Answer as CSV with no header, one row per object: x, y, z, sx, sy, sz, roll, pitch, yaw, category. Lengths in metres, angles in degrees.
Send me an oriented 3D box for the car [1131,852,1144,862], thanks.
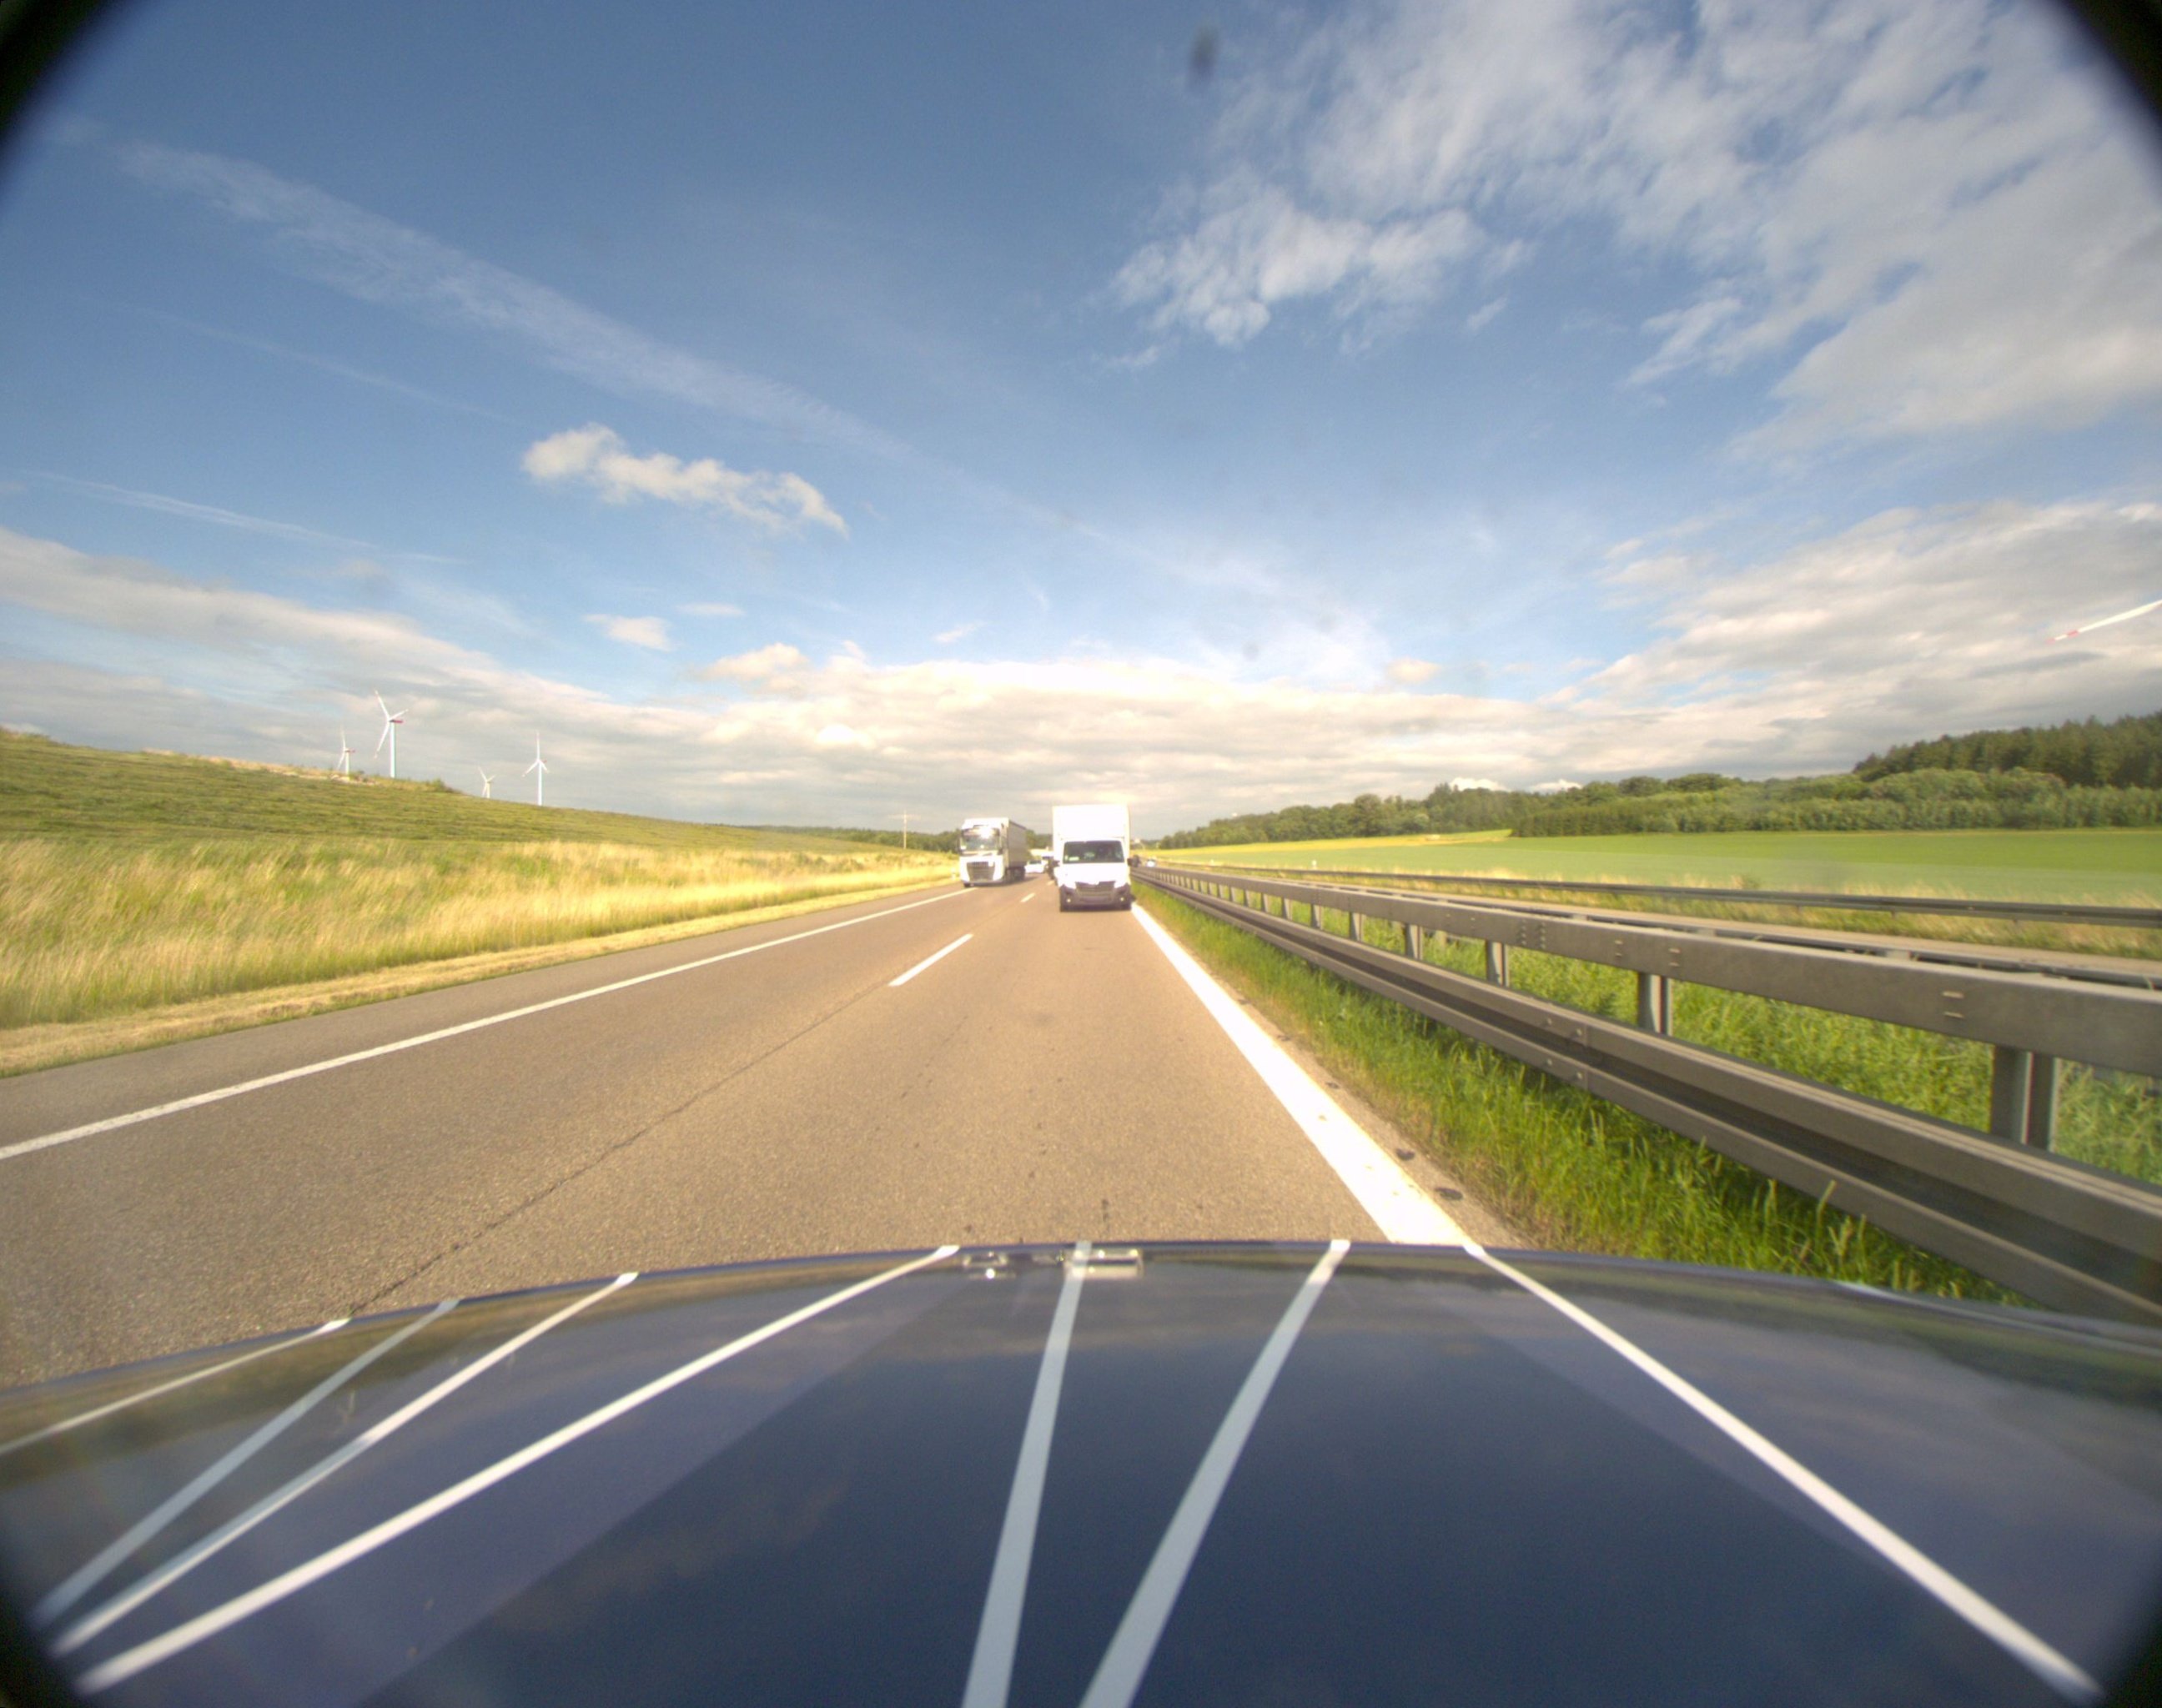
8.683,0.475,116.885,1.601,1.506,4.159,-1,1,1,car

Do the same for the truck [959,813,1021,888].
-5.331,-0.237,45.538,2.607,4.017,6.119,-4,1,1,truck

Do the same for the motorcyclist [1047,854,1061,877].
-1.933,0.816,54.858,0.898,1.608,1.022,-1,1,0,motorcyclist

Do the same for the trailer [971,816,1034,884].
-5.240,-0.298,53.457,2.623,4.017,13.697,-4,0,1,trailer

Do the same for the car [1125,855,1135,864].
9.852,1.062,153.791,1.827,1.759,4.363,-1,1,1,car

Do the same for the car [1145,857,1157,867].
12.327,1.386,133.278,1.739,1.579,4.116,-1,1,1,car

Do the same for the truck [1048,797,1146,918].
0.409,0.114,25.723,2.502,3.141,11.163,-1,0,0,truck

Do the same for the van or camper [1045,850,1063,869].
-3.607,0.695,104.209,2.102,2.530,6.412,-1,1,1,van or camper

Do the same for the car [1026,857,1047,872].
-4.737,1.114,81.082,1.871,1.409,4.461,-1,1,1,car

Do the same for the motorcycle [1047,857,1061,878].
-1.933,0.982,54.842,0.898,1.447,2.269,-1,1,0,motorcycle
